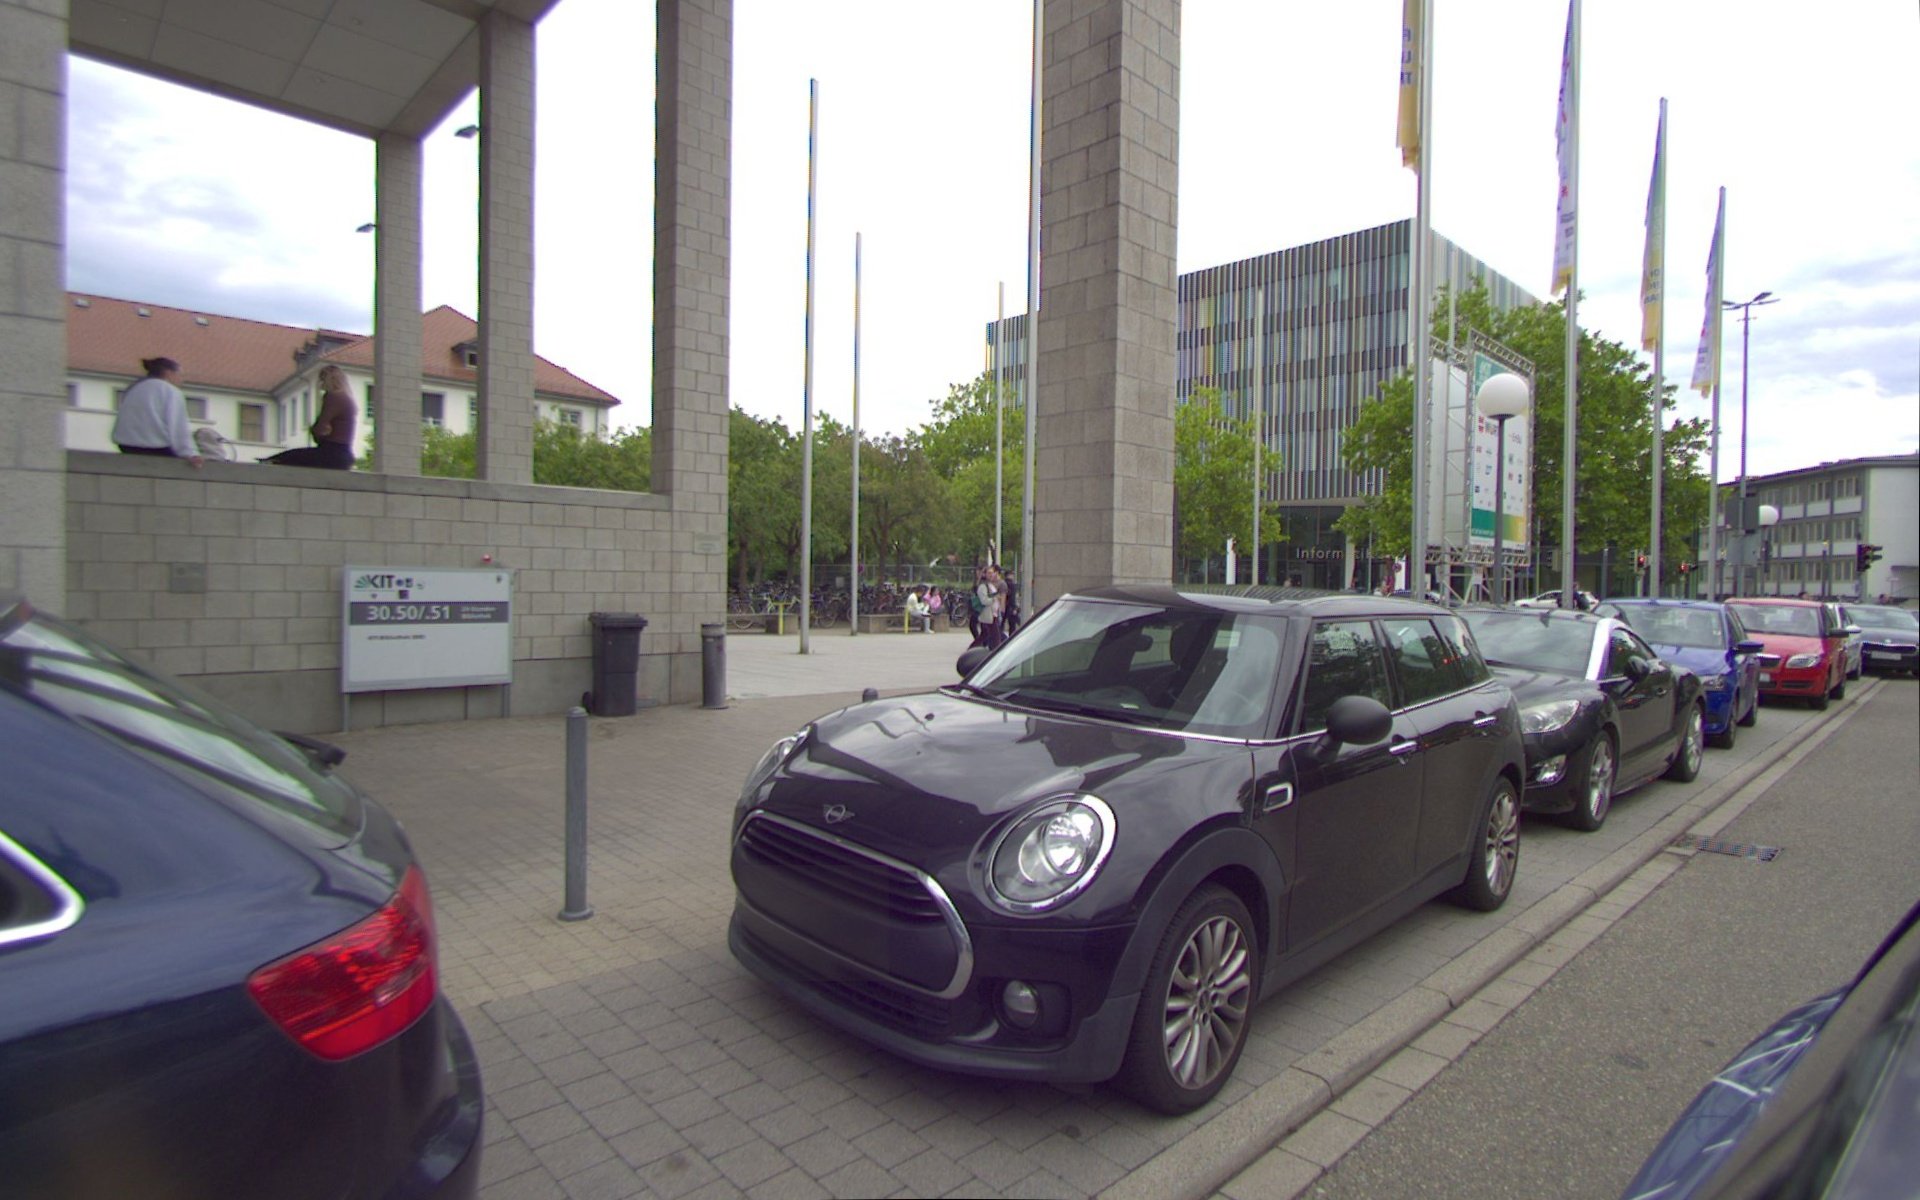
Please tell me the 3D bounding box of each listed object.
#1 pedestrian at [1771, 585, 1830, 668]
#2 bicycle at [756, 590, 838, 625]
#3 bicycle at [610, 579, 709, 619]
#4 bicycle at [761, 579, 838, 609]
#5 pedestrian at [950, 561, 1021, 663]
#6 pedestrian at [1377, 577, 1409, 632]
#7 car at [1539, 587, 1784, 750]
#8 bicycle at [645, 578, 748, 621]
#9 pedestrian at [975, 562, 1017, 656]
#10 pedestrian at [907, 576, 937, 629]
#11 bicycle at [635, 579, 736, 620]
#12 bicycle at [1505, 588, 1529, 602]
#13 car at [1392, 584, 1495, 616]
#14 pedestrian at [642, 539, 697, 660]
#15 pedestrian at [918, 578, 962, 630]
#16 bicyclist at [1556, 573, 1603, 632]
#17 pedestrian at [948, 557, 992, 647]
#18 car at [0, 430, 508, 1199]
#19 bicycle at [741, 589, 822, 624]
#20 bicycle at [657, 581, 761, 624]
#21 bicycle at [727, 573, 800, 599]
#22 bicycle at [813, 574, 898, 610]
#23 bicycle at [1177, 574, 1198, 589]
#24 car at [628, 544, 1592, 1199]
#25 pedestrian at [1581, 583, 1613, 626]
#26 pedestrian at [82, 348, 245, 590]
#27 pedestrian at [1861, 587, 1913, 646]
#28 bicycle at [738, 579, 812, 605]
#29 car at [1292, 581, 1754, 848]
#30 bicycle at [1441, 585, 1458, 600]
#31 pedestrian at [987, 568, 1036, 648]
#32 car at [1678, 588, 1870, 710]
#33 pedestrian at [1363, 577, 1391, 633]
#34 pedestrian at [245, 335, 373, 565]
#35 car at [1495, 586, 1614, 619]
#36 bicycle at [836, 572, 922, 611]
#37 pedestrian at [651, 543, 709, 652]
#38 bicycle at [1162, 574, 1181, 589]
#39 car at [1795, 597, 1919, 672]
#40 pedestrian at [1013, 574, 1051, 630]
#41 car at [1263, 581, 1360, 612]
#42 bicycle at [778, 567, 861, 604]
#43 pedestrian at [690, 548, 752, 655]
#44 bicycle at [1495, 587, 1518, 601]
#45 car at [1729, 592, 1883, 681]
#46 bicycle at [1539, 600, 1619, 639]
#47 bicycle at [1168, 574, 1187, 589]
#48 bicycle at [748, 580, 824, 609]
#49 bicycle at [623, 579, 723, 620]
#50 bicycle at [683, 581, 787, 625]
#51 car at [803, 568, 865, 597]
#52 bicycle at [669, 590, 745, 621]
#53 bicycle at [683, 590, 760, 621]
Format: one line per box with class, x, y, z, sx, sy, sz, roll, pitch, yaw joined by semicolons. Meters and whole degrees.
pedestrian;19.031;0.577;22.919;0.805;1.810;0.794;0;1;-32
bicycle;-5.978;0.299;37.227;3.054;1.185;0.746;3;-2;-42
bicycle;-9.782;-0.006;33.105;3.054;1.185;0.746;3;-2;-43
bicycle;-7.235;-0.247;45.761;3.332;1.185;1.054;3;-2;-39
pedestrian;0.429;0.212;17.015;0.734;1.662;0.917;0;-2;43
pedestrian;13.870;0.134;32.396;0.666;1.737;0.673;0;1;-38
car;8.040;0.601;11.427;1.695;1.429;4.309;2;2;42
bicycle;-8.147;0.004;31.444;3.054;1.185;0.746;3;-2;-42
pedestrian;0.683;0.161;19.446;0.635;1.733;0.783;1;3;-7
pedestrian;-1.050;0.064;28.066;0.664;1.431;0.766;1;1;15
bicycle;-8.650;0.003;32.043;3.054;1.185;0.746;3;-2;-42
bicycle;40.144;-0.398;72.971;0.538;0.947;2.012;0;2;-4
car;24.478;-0.044;51.330;1.967;1.508;4.281;-1;1;-44
pedestrian;-4.591;-0.017;15.987;0.610;1.864;0.591;0;1;-43
pedestrian;-0.574;0.098;28.962;0.847;1.438;0.957;1;1;35
bicyclist;18.096;0.069;29.583;0.853;1.661;0.875;1;0;5
pedestrian;0.190;0.049;20.380;0.680;1.734;0.910;3;-1;-7
car;-2.998;0.567;0.332;4.842;1.470;1.995;-1;2;-44
bicycle;-6.698;0.256;38.152;3.054;1.185;0.746;3;-2;-42
bicycle;-7.576;0.105;30.720;3.054;1.185;0.746;3;-2;-42
bicycle;-9.392;-0.671;48.537;3.332;1.184;1.055;0;1;-38
bicycle;-3.569;-0.279;34.893;3.055;1.184;0.746;0;1;-43
bicycle;19.899;-1.612;88.406;2.066;1.275;0.628;3;-2;-39
car;1.084;0.580;4.369;1.819;1.461;4.447;4;3;45
pedestrian;24.466;0.164;38.862;0.778;1.647;0.758;0;1;-35
pedestrian;-5.966;-0.933;7.629;0.790;1.680;0.632;2;-2;-28
pedestrian;26.710;0.452;29.173;1.040;1.640;0.648;1;1;41
bicycle;-8.708;-0.396;47.638;3.333;1.184;1.055;-1;2;-39
car;4.500;0.667;7.755;4.343;1.460;1.850;2;0;-43
bicycle;35.709;-0.548;73.858;0.475;1.058;1.913;0;2;7
pedestrian;1.108;0.154;21.761;0.693;1.690;0.756;0;1;-42
car;12.328;0.636;15.228;4.203;1.491;1.714;0;3;-44
pedestrian;13.134;0.155;31.852;0.647;1.737;0.584;0;1;-43
pedestrian;-5.187;-1.150;8.114;0.618;1.680;0.808;2;-2;-19
car;32.393;0.128;55.255;5.351;1.719;2.017;0;-2;41
bicycle;-2.697;-0.259;34.120;3.054;1.185;0.746;3;-2;-42
pedestrian;-4.961;-0.056;17.938;0.771;1.888;0.598;2;2;25
bicycle;18.687;-1.623;89.483;0.626;1.275;2.070;0;-2;44
car;19.871;0.676;21.823;1.848;1.419;4.438;1;1;26
pedestrian;2.275;0.050;31.847;0.844;1.725;0.960;2;1;27
car;19.755;-0.201;57.038;4.825;1.683;1.968;1;1;45
bicycle;-5.040;-0.513;36.552;3.054;1.185;0.746;3;-2;-42
pedestrian;-4.157;0.017;17.589;0.759;1.807;0.728;1;1;33
bicycle;39.418;-0.419;72.991;0.474;0.947;2.012;0;2;-4
car;16.134;0.608;19.239;3.795;1.471;1.862;0;1;-44
bicycle;18.080;0.560;29.586;1.769;1.107;0.875;1;0;6
bicycle;19.181;-1.618;89.039;0.626;1.275;2.070;0;-2;44
bicycle;-8.021;-0.247;46.770;3.332;1.185;1.054;3;-2;-39
bicycle;-9.205;-0.001;32.575;3.054;1.185;0.746;3;-2;-42
bicycle;-6.552;0.111;29.680;3.054;1.185;0.621;3;-2;-43
car;-7.959;-1.142;64.214;1.983;1.774;4.025;1;1;29
bicycle;-10.486;0.235;42.112;3.054;1.185;0.746;3;-2;-42
bicycle;-9.676;0.238;41.235;3.054;1.185;0.746;3;-2;-42
